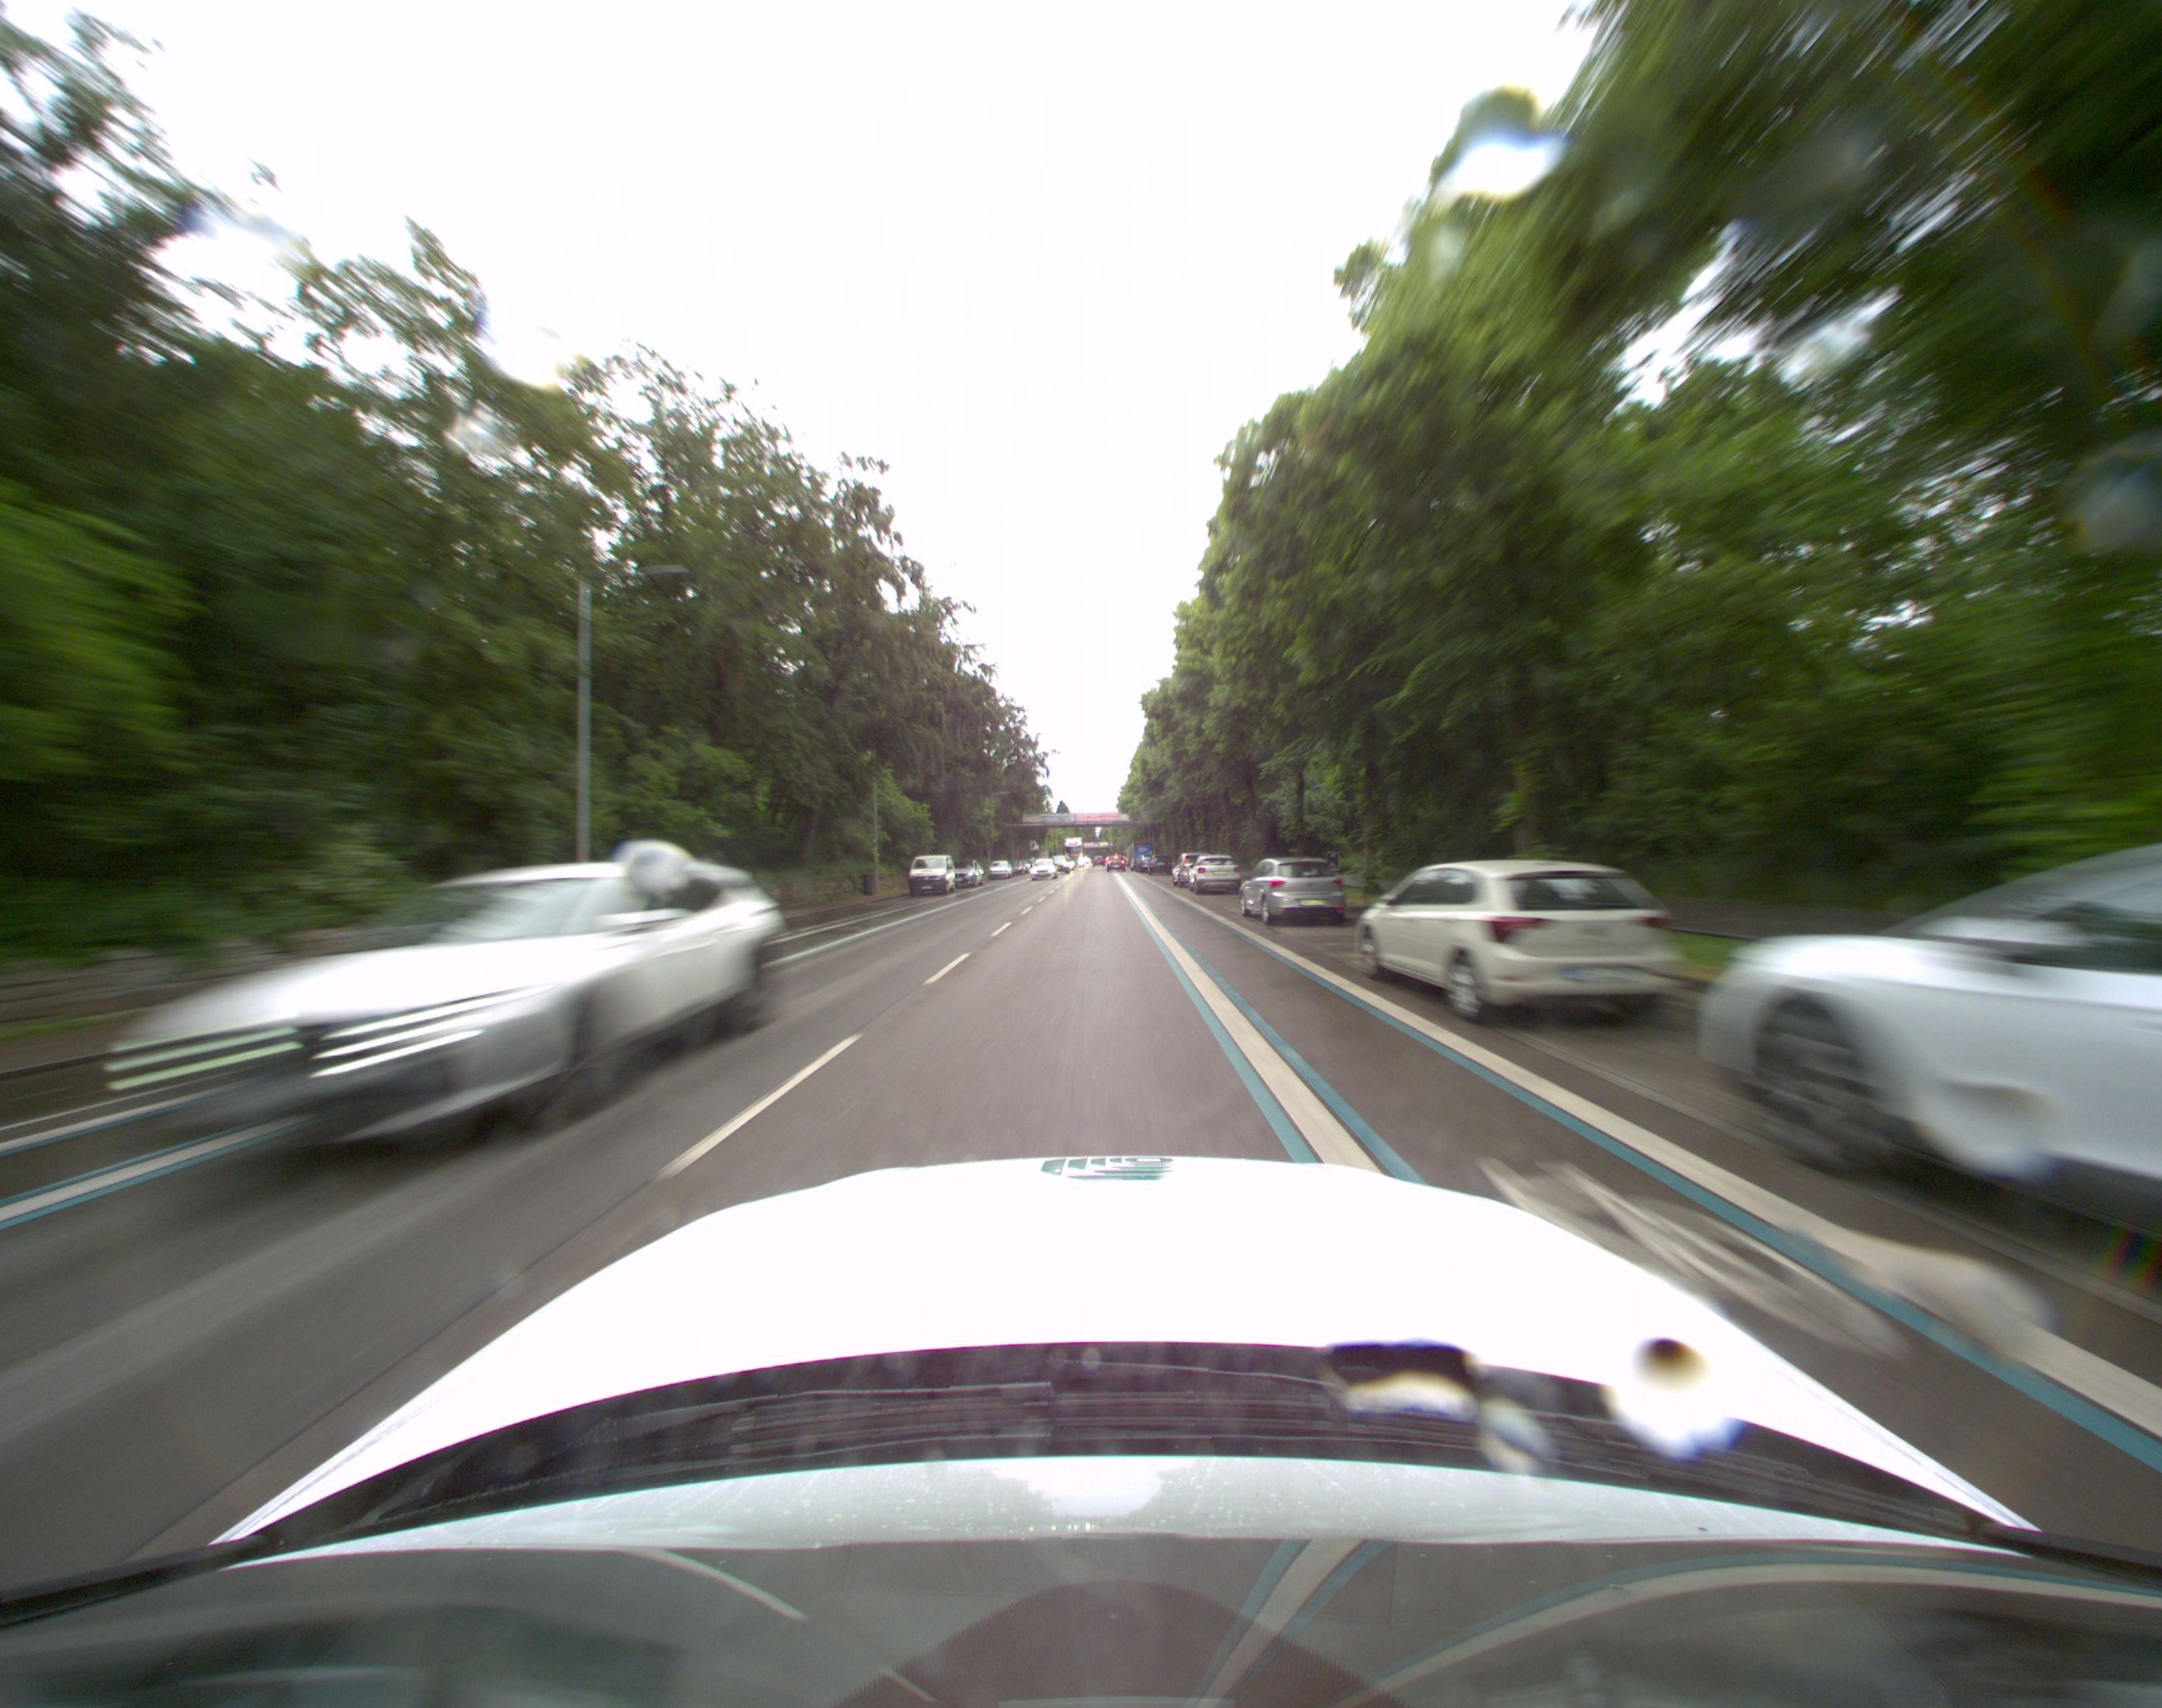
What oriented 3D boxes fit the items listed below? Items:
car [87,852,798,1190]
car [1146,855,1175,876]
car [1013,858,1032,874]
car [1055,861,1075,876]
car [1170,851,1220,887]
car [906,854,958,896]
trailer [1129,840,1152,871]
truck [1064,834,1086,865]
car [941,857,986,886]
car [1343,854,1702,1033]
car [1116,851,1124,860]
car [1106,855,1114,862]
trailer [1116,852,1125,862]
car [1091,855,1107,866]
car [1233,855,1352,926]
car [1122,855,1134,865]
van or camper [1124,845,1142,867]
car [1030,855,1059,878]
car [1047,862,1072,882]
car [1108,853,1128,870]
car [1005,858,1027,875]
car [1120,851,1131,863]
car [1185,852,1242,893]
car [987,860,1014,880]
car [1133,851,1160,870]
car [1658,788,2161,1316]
[{"bbox_3d":[-4.037,0.847,6.385,1.947,1.639,4.446,-2,0,1],"label":"car"},{"bbox_3d":[5.992,0.838,61.844,1.819,1.503,4.571,-2,0,1],"label":"car"},{"bbox_3d":[-6.344,1.292,88.802,1.682,1.546,4.233,-2,0,0],"label":"car"},{"bbox_3d":[-1.761,1.597,91.755,1.908,1.456,4.623,-4,0,2],"label":"car"},{"bbox_3d":[5.311,0.671,38.551,1.747,1.597,4.740,-1,0,1],"label":"car"},{"bbox_3d":[-7.560,1.005,41.723,1.969,2.005,5.013,-1,0,-3],"label":"car"},{"bbox_3d":[5.548,0.144,76.581,1.945,2.758,4.008,-2,0,1],"label":"trailer"},{"bbox_3d":[-0.794,-0.614,113.948,2.507,4.046,4.921,-4,0,4],"label":"truck"},{"bbox_3d":[-7.255,1.063,50.624,2.003,1.605,4.779,-2,0,0],"label":"car"},{"bbox_3d":[4.279,0.741,8.699,1.692,1.453,3.945,-1,0,0],"label":"car"},{"bbox_3d":[9.883,0.472,207.290,1.882,2.127,4.047,-3,0,2],"label":"car"},{"bbox_3d":[7.409,1.217,207.935,1.725,1.583,4.037,-2,0,1],"label":"car"},{"bbox_3d":[9.171,0.752,190.442,1.877,2.166,3.809,-2,0,2],"label":"trailer"},{"bbox_3d":[2.512,0.953,114.167,2.134,1.492,4.497,-1,0,-1],"label":"car"},{"bbox_3d":[4.775,0.754,18.973,1.692,1.453,4.097,-1,0,0],"label":"car"},{"bbox_3d":[7.406,0.897,128.669,1.750,1.590,4.500,-1,0,1],"label":"car"},{"bbox_3d":[6.813,0.240,107.566,2.035,2.729,6.900,-1,0,1],"label":"van or camper"},{"bbox_3d":[-2.550,0.876,57.971,1.770,1.466,4.063,-4,0,0],"label":"car"},{"bbox_3d":[-1.954,1.592,74.127,1.954,1.617,4.467,-3,0,1],"label":"car"},{"bbox_3d":[3.455,0.698,77.005,1.811,1.508,4.141,-1,0,2],"label":"car"},{"bbox_3d":[-6.236,1.202,77.911,1.826,1.477,4.038,-2,0,-2],"label":"car"},{"bbox_3d":[8.007,0.580,147.092,1.919,2.022,4.665,-1,0,1],"label":"car"},{"bbox_3d":[5.271,0.705,32.826,1.691,1.513,4.471,-1,0,2],"label":"car"},{"bbox_3d":[-6.642,1.330,67.276,1.784,1.482,3.981,-3,0,-1],"label":"car"},{"bbox_3d":[5.652,0.541,70.794,1.894,1.547,4.753,0,0,-1],"label":"car"},{"bbox_3d":[4.375,0.599,2.503,1.987,1.662,4.563,-1,0,1],"label":"car"}]
